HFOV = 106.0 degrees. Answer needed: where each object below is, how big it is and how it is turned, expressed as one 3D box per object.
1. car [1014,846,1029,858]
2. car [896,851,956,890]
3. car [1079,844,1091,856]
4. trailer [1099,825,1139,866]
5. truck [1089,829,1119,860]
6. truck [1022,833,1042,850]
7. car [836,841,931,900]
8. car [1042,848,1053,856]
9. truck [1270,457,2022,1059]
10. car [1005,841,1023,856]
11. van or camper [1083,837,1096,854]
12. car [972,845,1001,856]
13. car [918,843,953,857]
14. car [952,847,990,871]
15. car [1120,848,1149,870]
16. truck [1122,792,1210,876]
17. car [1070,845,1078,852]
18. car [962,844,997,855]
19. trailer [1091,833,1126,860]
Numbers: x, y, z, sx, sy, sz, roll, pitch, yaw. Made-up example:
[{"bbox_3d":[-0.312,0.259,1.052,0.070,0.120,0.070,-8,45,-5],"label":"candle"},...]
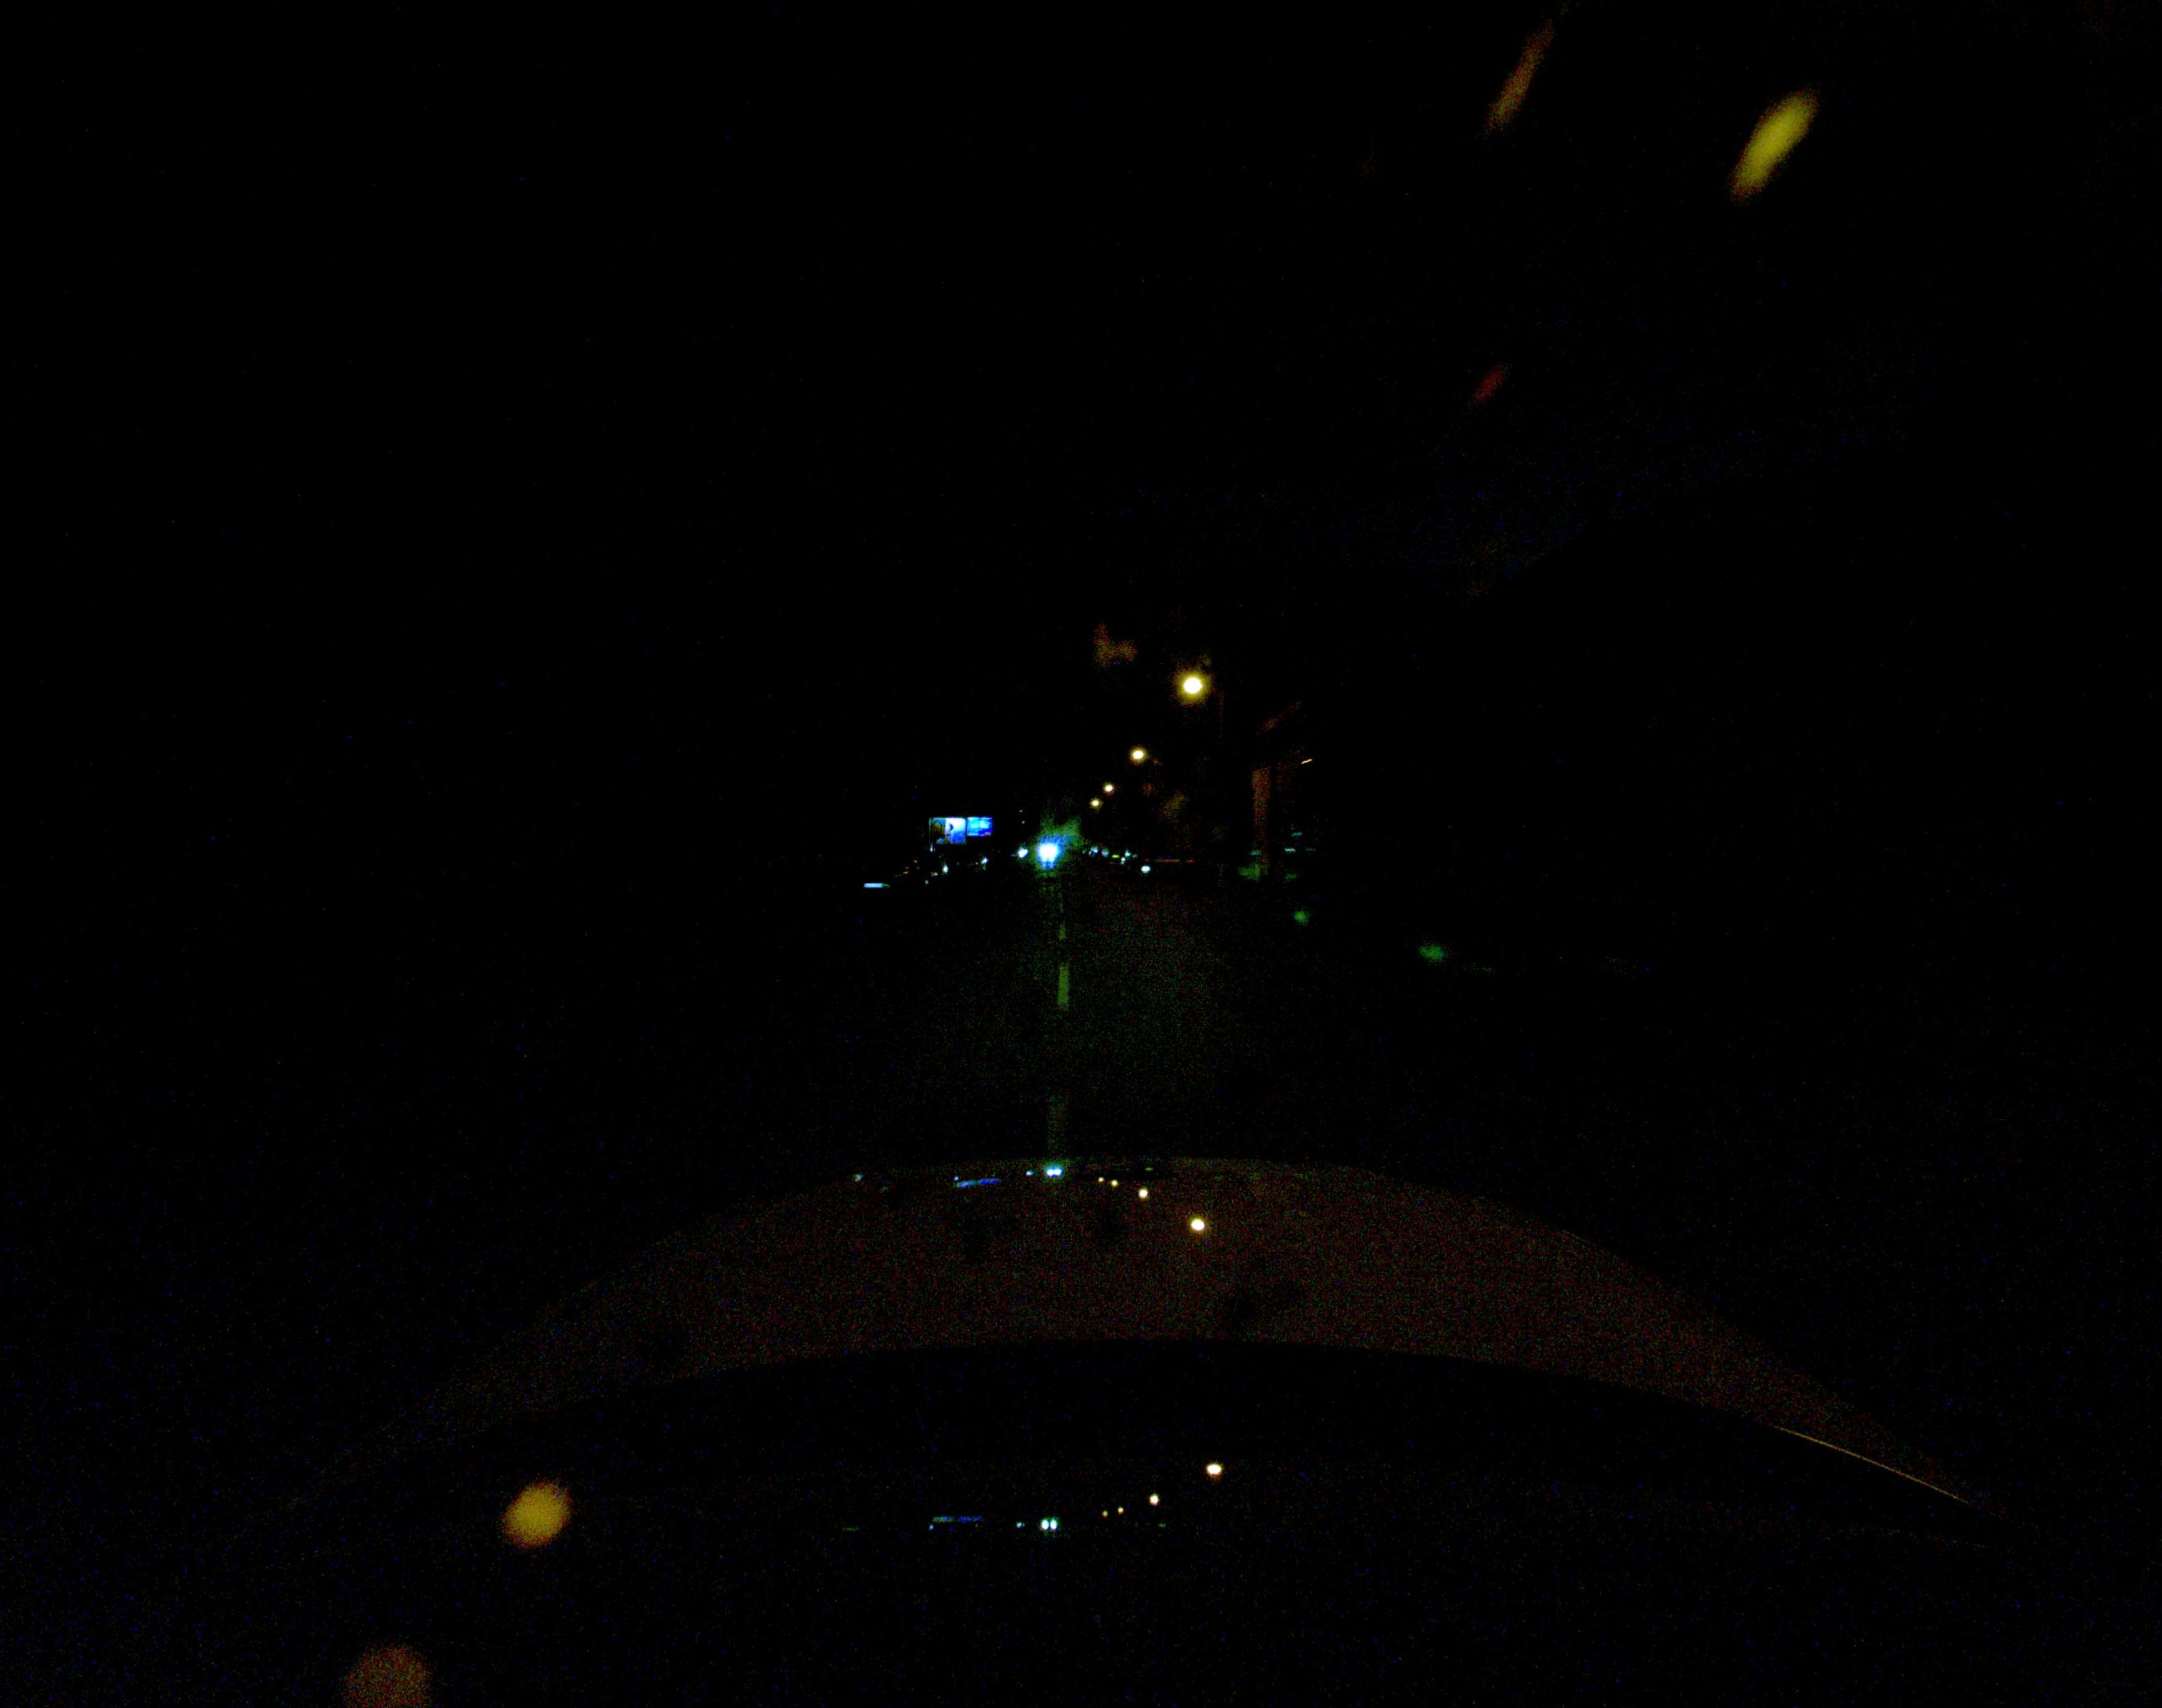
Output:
[{"bbox_3d":[-9.379,-0.339,127.806,1.890,1.736,4.357,1,0,2],"label":"car"},{"bbox_3d":[-5.834,0.587,31.048,1.597,1.354,3.997,1,0,-2],"label":"car"},{"bbox_3d":[0.713,-0.720,150.029,1.988,2.145,3.998,1,0,-1],"label":"car"},{"bbox_3d":[3.253,-0.706,72.342,2.681,3.464,7.798,1,0,-4],"label":"trailer"},{"bbox_3d":[2.683,-1.082,95.795,3.142,3.463,6.669,-1,0,-1],"label":"truck"},{"bbox_3d":[-10.808,-2.816,179.179,3.886,3.621,8.241,1,0,-7],"label":"truck"},{"bbox_3d":[-6.078,0.471,25.663,1.989,1.636,4.769,1,0,-3],"label":"car"},{"bbox_3d":[-6.480,-0.426,156.032,1.988,1.398,3.998,1,0,-1],"label":"car"},{"bbox_3d":[4.964,-0.637,10.611,2.820,3.983,10.345,-1,0,2],"label":"truck"},{"bbox_3d":[-8.349,-0.686,102.165,1.988,1.794,3.998,1,0,-1],"label":"car"},{"bbox_3d":[1.363,-1.392,129.381,1.987,2.581,4.913,1,0,-1],"label":"van or camper"},{"bbox_3d":[-14.754,-0.558,126.773,4.010,1.594,1.982,-1,0,-28],"label":"car"},{"bbox_3d":[-17.657,-0.469,98.801,3.980,1.651,1.997,1,0,-5],"label":"car"},{"bbox_3d":[-6.628,0.283,49.538,1.836,1.420,3.998,1,0,-1],"label":"car"},{"bbox_3d":[3.874,0.374,59.677,1.847,1.519,3.816,-1,0,-1],"label":"car"},{"bbox_3d":[4.305,-0.960,44.028,3.510,3.983,10.337,-1,0,-1],"label":"truck"},{"bbox_3d":[-1.786,-1.269,200.304,1.988,1.684,3.998,1,0,-1],"label":"car"},{"bbox_3d":[-14.796,-0.687,118.383,4.634,1.485,1.984,1,0,-24],"label":"car"},{"bbox_3d":[2.853,-0.730,88.658,3.175,2.749,10.709,-1,0,-1],"label":"trailer"}]
